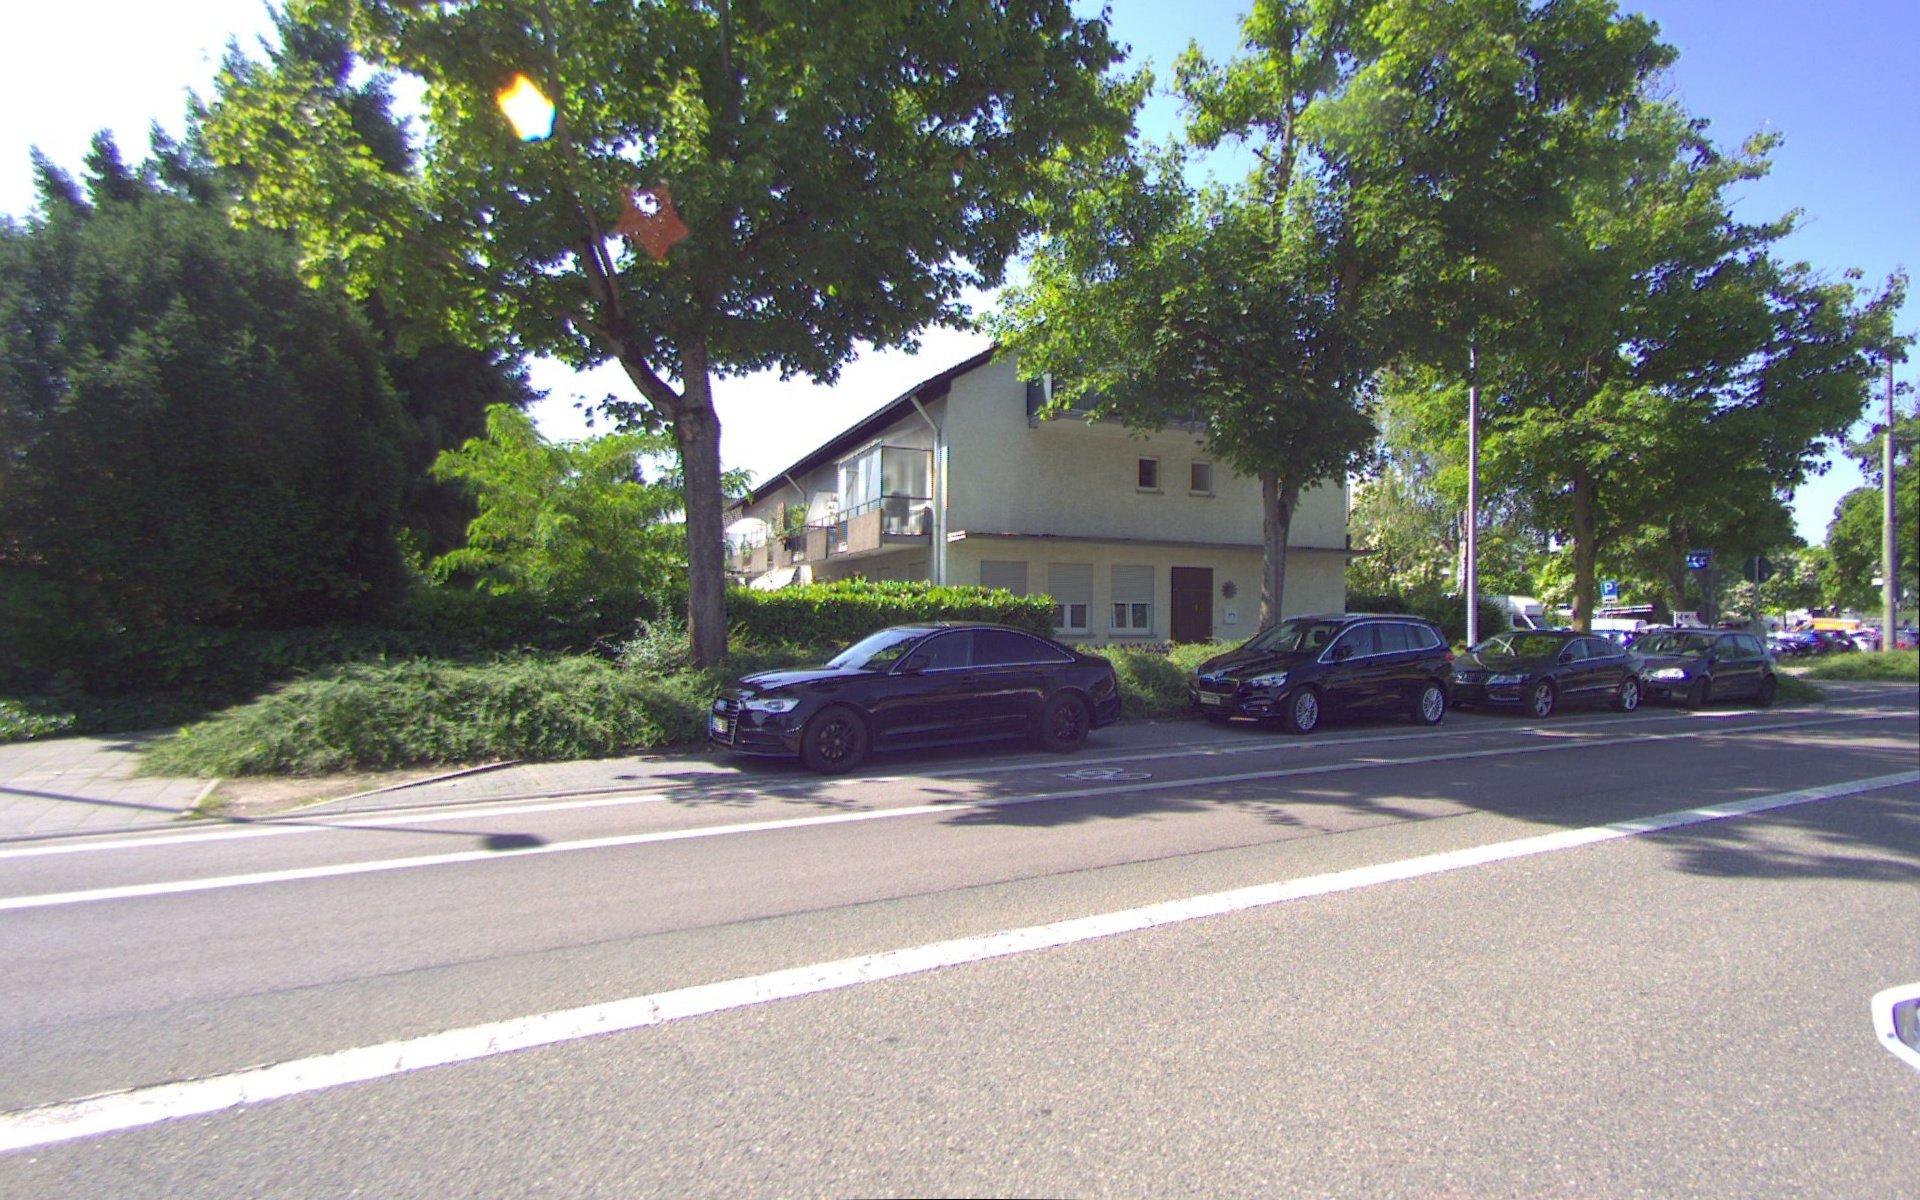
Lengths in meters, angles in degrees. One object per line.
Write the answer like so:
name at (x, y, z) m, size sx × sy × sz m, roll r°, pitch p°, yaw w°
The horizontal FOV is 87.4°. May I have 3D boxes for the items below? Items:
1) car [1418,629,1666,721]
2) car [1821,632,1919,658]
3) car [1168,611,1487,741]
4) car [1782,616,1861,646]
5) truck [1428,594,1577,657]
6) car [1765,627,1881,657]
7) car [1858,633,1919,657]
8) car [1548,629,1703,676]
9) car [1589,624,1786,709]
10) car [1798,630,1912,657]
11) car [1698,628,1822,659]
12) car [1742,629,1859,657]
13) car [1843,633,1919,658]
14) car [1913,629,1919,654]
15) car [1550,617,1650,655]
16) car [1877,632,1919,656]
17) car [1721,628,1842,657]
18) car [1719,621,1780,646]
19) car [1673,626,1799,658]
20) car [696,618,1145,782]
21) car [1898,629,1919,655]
car at (10.297, 1.232, 17.663) m, size 4.726 × 1.398 × 1.682 m, roll 1°, pitch -1°, yaw -30°
car at (47.063, 2.278, 51.576) m, size 1.748 × 1.241 × 3.973 m, roll 1°, pitch -1°, yaw -26°
car at (5.505, 1.021, 14.853) m, size 4.836 × 1.627 × 1.753 m, roll 1°, pitch 0°, yaw -30°
car at (66.681, 2.381, 77.795) m, size 1.980 × 2.040 × 4.228 m, roll 2°, pitch 1°, yaw -35°
truck at (30.119, 1.315, 56.103) m, size 2.206 × 3.059 × 7.103 m, roll 1°, pitch 2°, yaw -31°
car at (42.446, 2.053, 49.490) m, size 1.748 × 1.368 × 3.973 m, roll 1°, pitch -1°, yaw -26°
car at (51.236, 2.422, 54.048) m, size 1.748 × 1.241 × 3.973 m, roll 1°, pitch -1°, yaw -26°
car at (21.882, 1.738, 33.173) m, size 1.730 × 1.426 × 3.885 m, roll 0°, pitch -3°, yaw -28°
car at (14.479, 1.271, 19.961) m, size 3.955 × 1.470 × 1.634 m, roll 1°, pitch 1°, yaw -29°
car at (44.894, 2.161, 50.474) m, size 1.748 × 1.281 × 3.973 m, roll 1°, pitch -1°, yaw -26°
car at (35.432, 1.891, 44.599) m, size 1.751 × 1.241 × 3.967 m, roll 1°, pitch -1°, yaw -31°
car at (40.195, 2.046, 48.143) m, size 1.748 × 1.241 × 3.973 m, roll 1°, pitch -1°, yaw -26°
car at (49.279, 2.364, 52.816) m, size 1.748 × 1.241 × 3.973 m, roll 1°, pitch -1°, yaw -26°
car at (57.527, 2.403, 57.490) m, size 1.748 × 1.463 × 3.973 m, roll 1°, pitch -1°, yaw -26°
car at (38.901, 2.153, 61.167) m, size 1.979 × 2.040 × 4.663 m, roll 2°, pitch 1°, yaw -34°
car at (53.102, 2.432, 54.999) m, size 1.748 × 1.241 × 3.973 m, roll 1°, pitch -1°, yaw -26°
car at (37.719, 1.934, 46.223) m, size 1.748 × 1.241 × 3.973 m, roll 1°, pitch -1°, yaw -26°
car at (61.030, 2.587, 77.661) m, size 1.535 × 1.901 × 3.406 m, roll 1°, pitch -1°, yaw -31°
car at (33.457, 1.786, 43.407) m, size 1.751 × 1.241 × 3.967 m, roll 1°, pitch -1°, yaw -31°
car at (-0.323, 0.976, 11.381) m, size 4.858 × 1.485 × 1.829 m, roll 1°, pitch -1°, yaw -33°
car at (55.411, 2.377, 56.206) m, size 1.748 × 1.420 × 3.973 m, roll 1°, pitch -1°, yaw -26°
